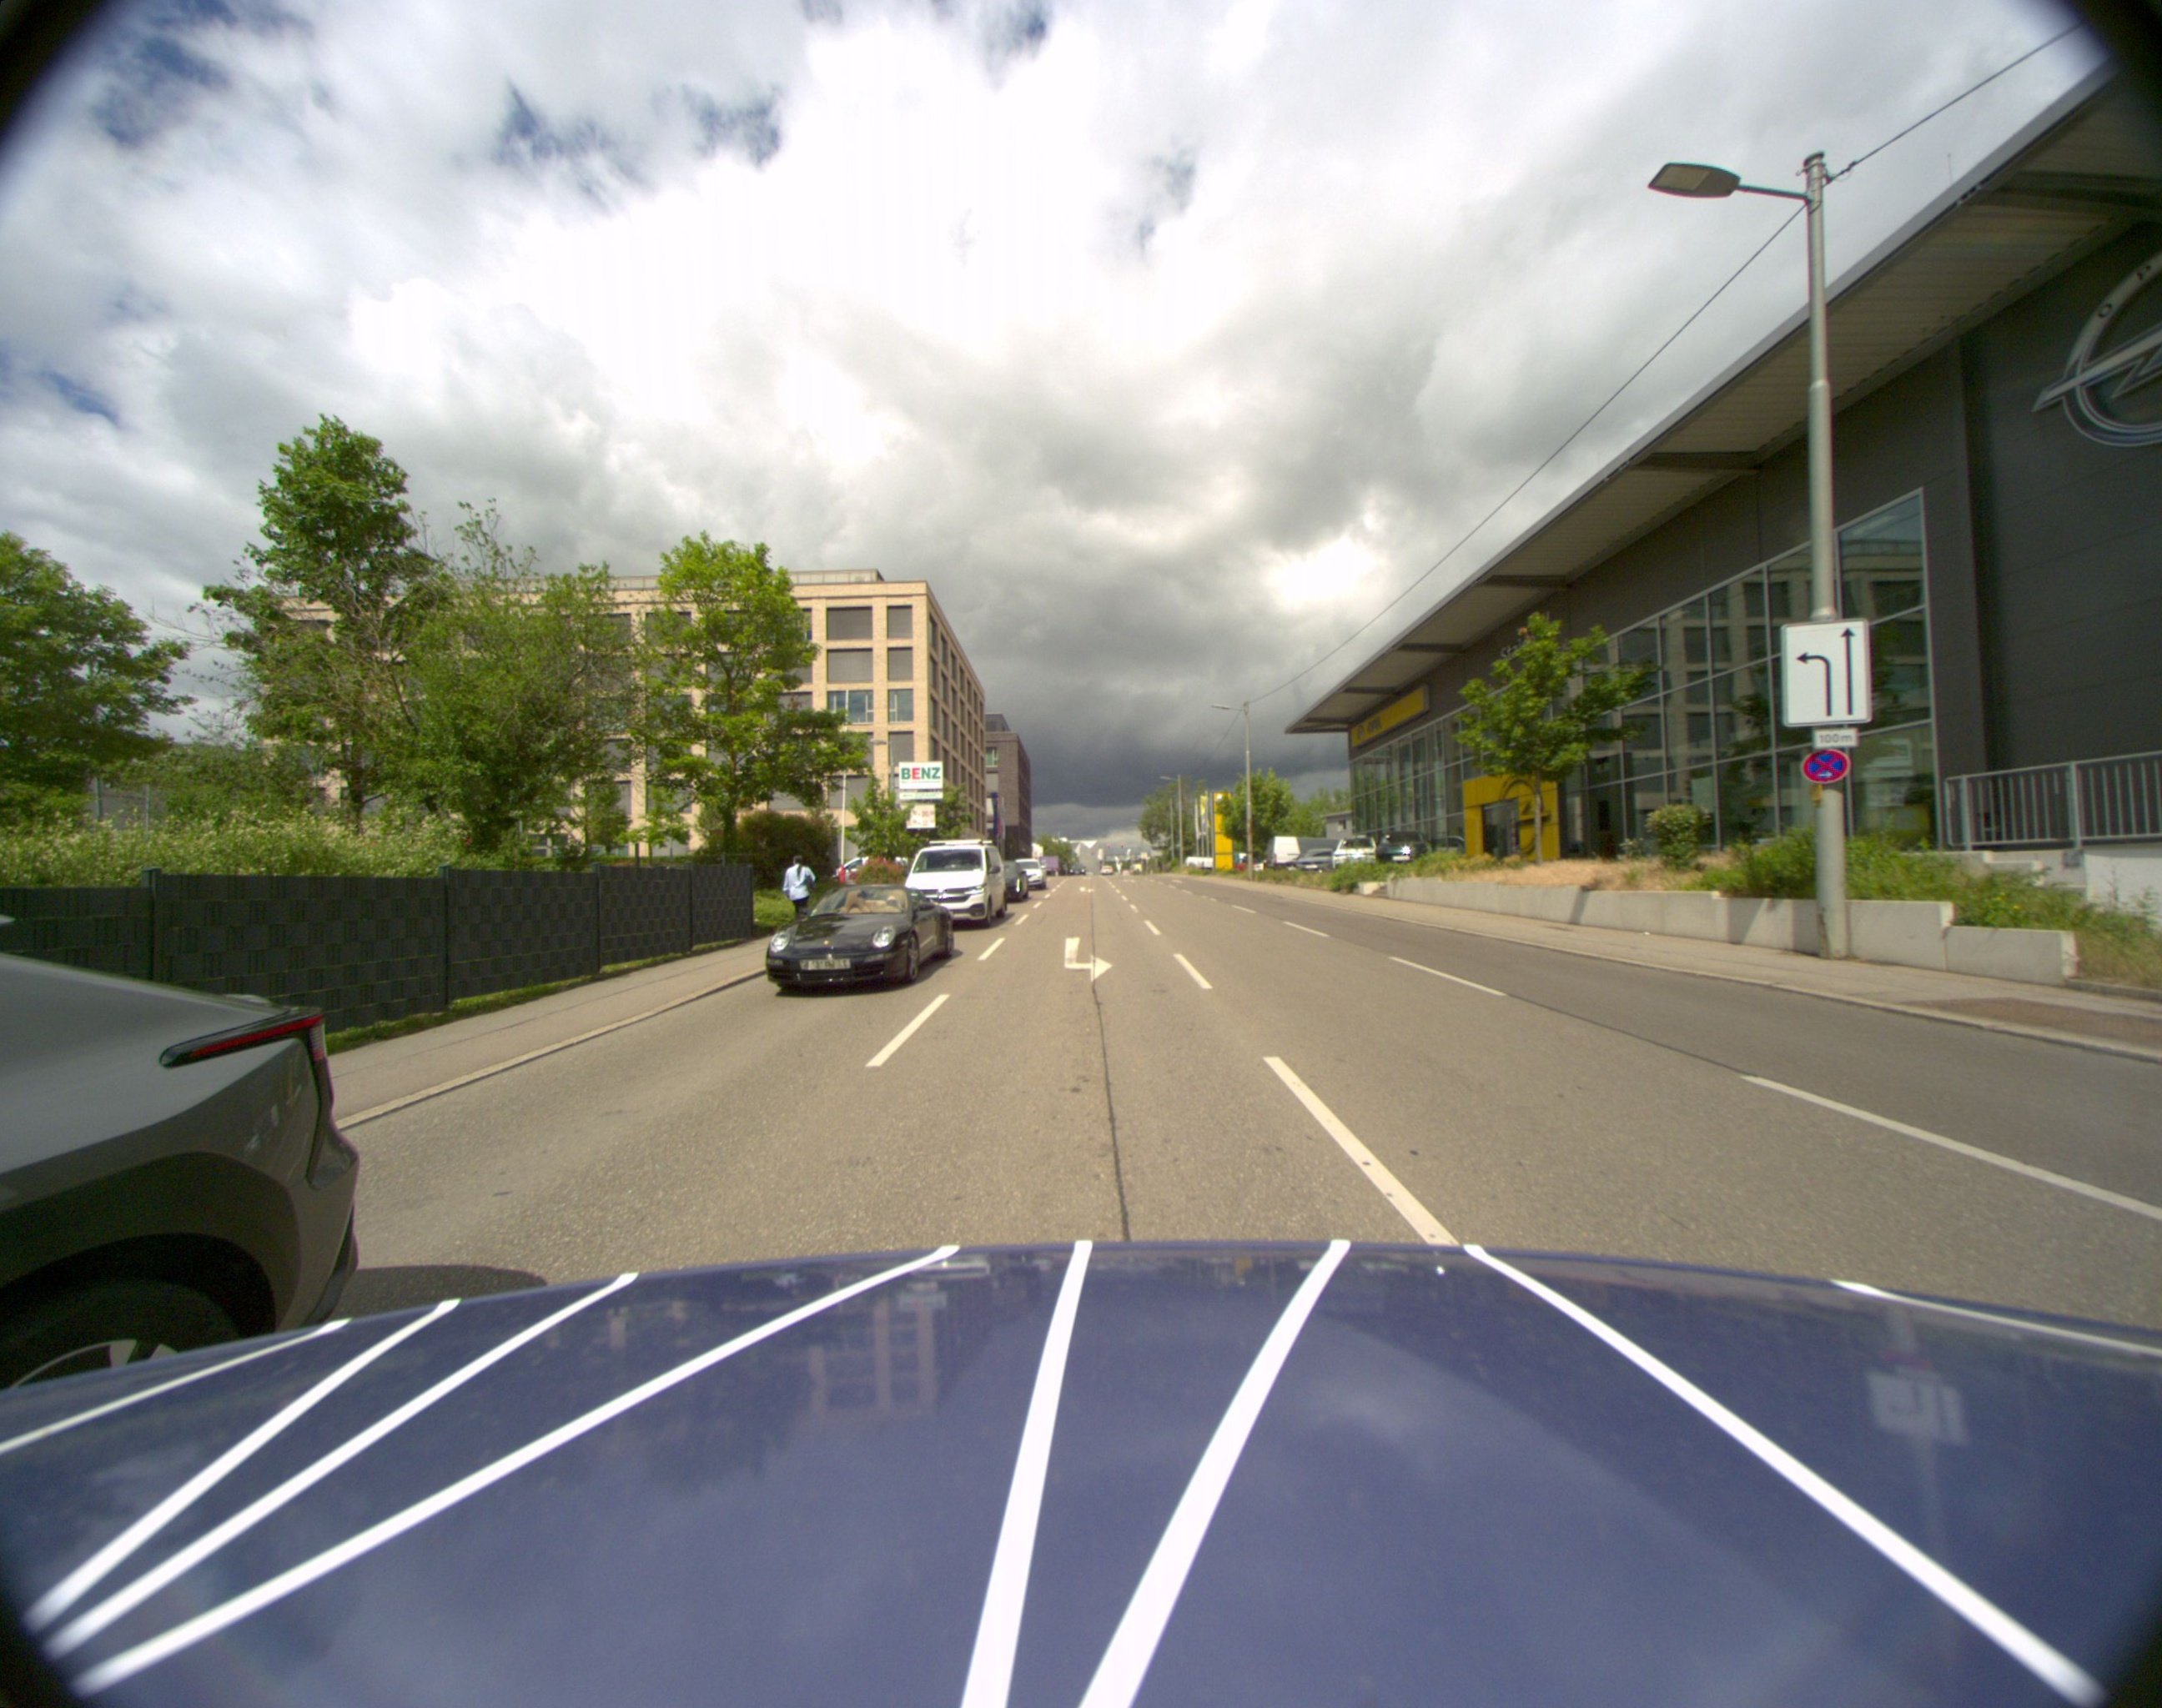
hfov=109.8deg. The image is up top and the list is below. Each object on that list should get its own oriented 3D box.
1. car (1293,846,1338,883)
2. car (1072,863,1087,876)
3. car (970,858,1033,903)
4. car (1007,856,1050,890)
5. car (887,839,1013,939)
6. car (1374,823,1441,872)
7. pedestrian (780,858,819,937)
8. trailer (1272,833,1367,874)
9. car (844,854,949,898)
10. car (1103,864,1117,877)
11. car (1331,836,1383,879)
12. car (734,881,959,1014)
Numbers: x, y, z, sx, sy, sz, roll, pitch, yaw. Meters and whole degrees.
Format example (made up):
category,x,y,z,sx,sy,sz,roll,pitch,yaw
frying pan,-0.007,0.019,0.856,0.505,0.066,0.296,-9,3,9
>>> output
category,x,y,z,sx,sy,sz,roll,pitch,yaw
car,12.088,0.482,39.012,1.995,1.783,4.006,-1,0,21
car,-0.150,1.840,91.355,1.662,1.351,4.000,-1,0,1
car,-2.845,0.925,27.883,1.818,1.454,4.000,-1,0,1
car,-2.611,0.910,38.423,1.818,1.577,4.000,-1,0,1
car,-2.996,0.731,18.504,2.089,2.037,4.760,-2,0,1
car,12.319,-0.240,28.928,1.996,1.718,4.005,-1,0,18
pedestrian,-5.962,0.916,16.111,0.632,1.648,0.443,-1,1,-1
trailer,14.431,-0.053,46.172,5.074,2.336,2.000,-1,1,-1
car,-7.650,0.904,31.790,3.998,1.723,1.822,-1,1,-3
car,4.443,2.550,117.141,1.998,1.731,4.547,-2,0,1
car,12.150,0.142,33.439,1.995,1.783,4.006,-1,0,21
car,-3.010,1.147,10.729,1.824,1.286,4.038,-2,0,1
